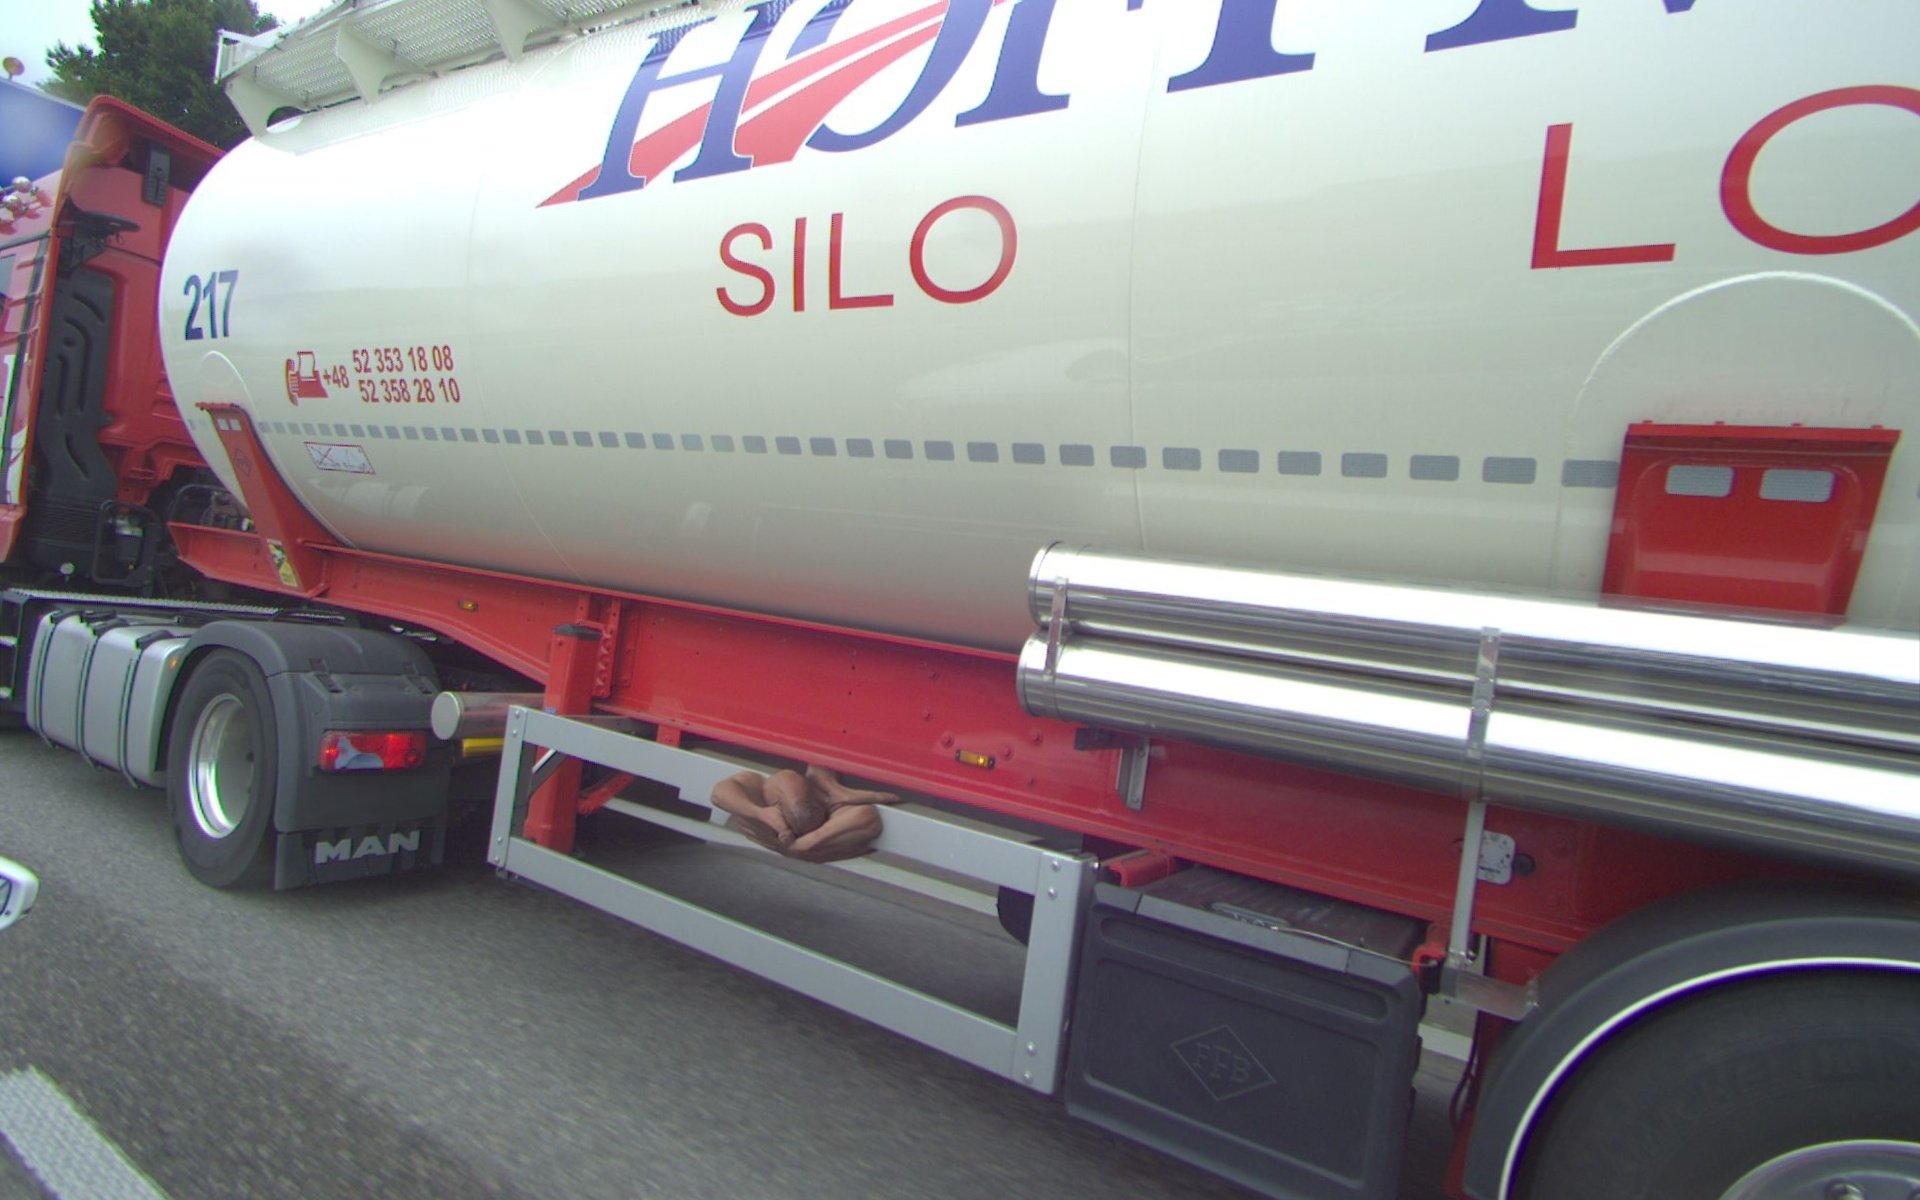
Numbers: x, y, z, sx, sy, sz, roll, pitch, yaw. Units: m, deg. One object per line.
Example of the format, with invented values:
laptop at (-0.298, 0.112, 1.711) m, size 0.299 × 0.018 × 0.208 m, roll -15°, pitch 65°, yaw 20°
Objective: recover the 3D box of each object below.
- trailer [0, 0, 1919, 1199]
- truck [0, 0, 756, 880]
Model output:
trailer at (1.275, -0.308, 3.036) m, size 12.911 × 3.986 × 2.672 m, roll 7°, pitch 0°, yaw 32°
truck at (-4.930, -1.022, 6.957) m, size 6.448 × 3.960 × 2.698 m, roll 7°, pitch 0°, yaw 32°
